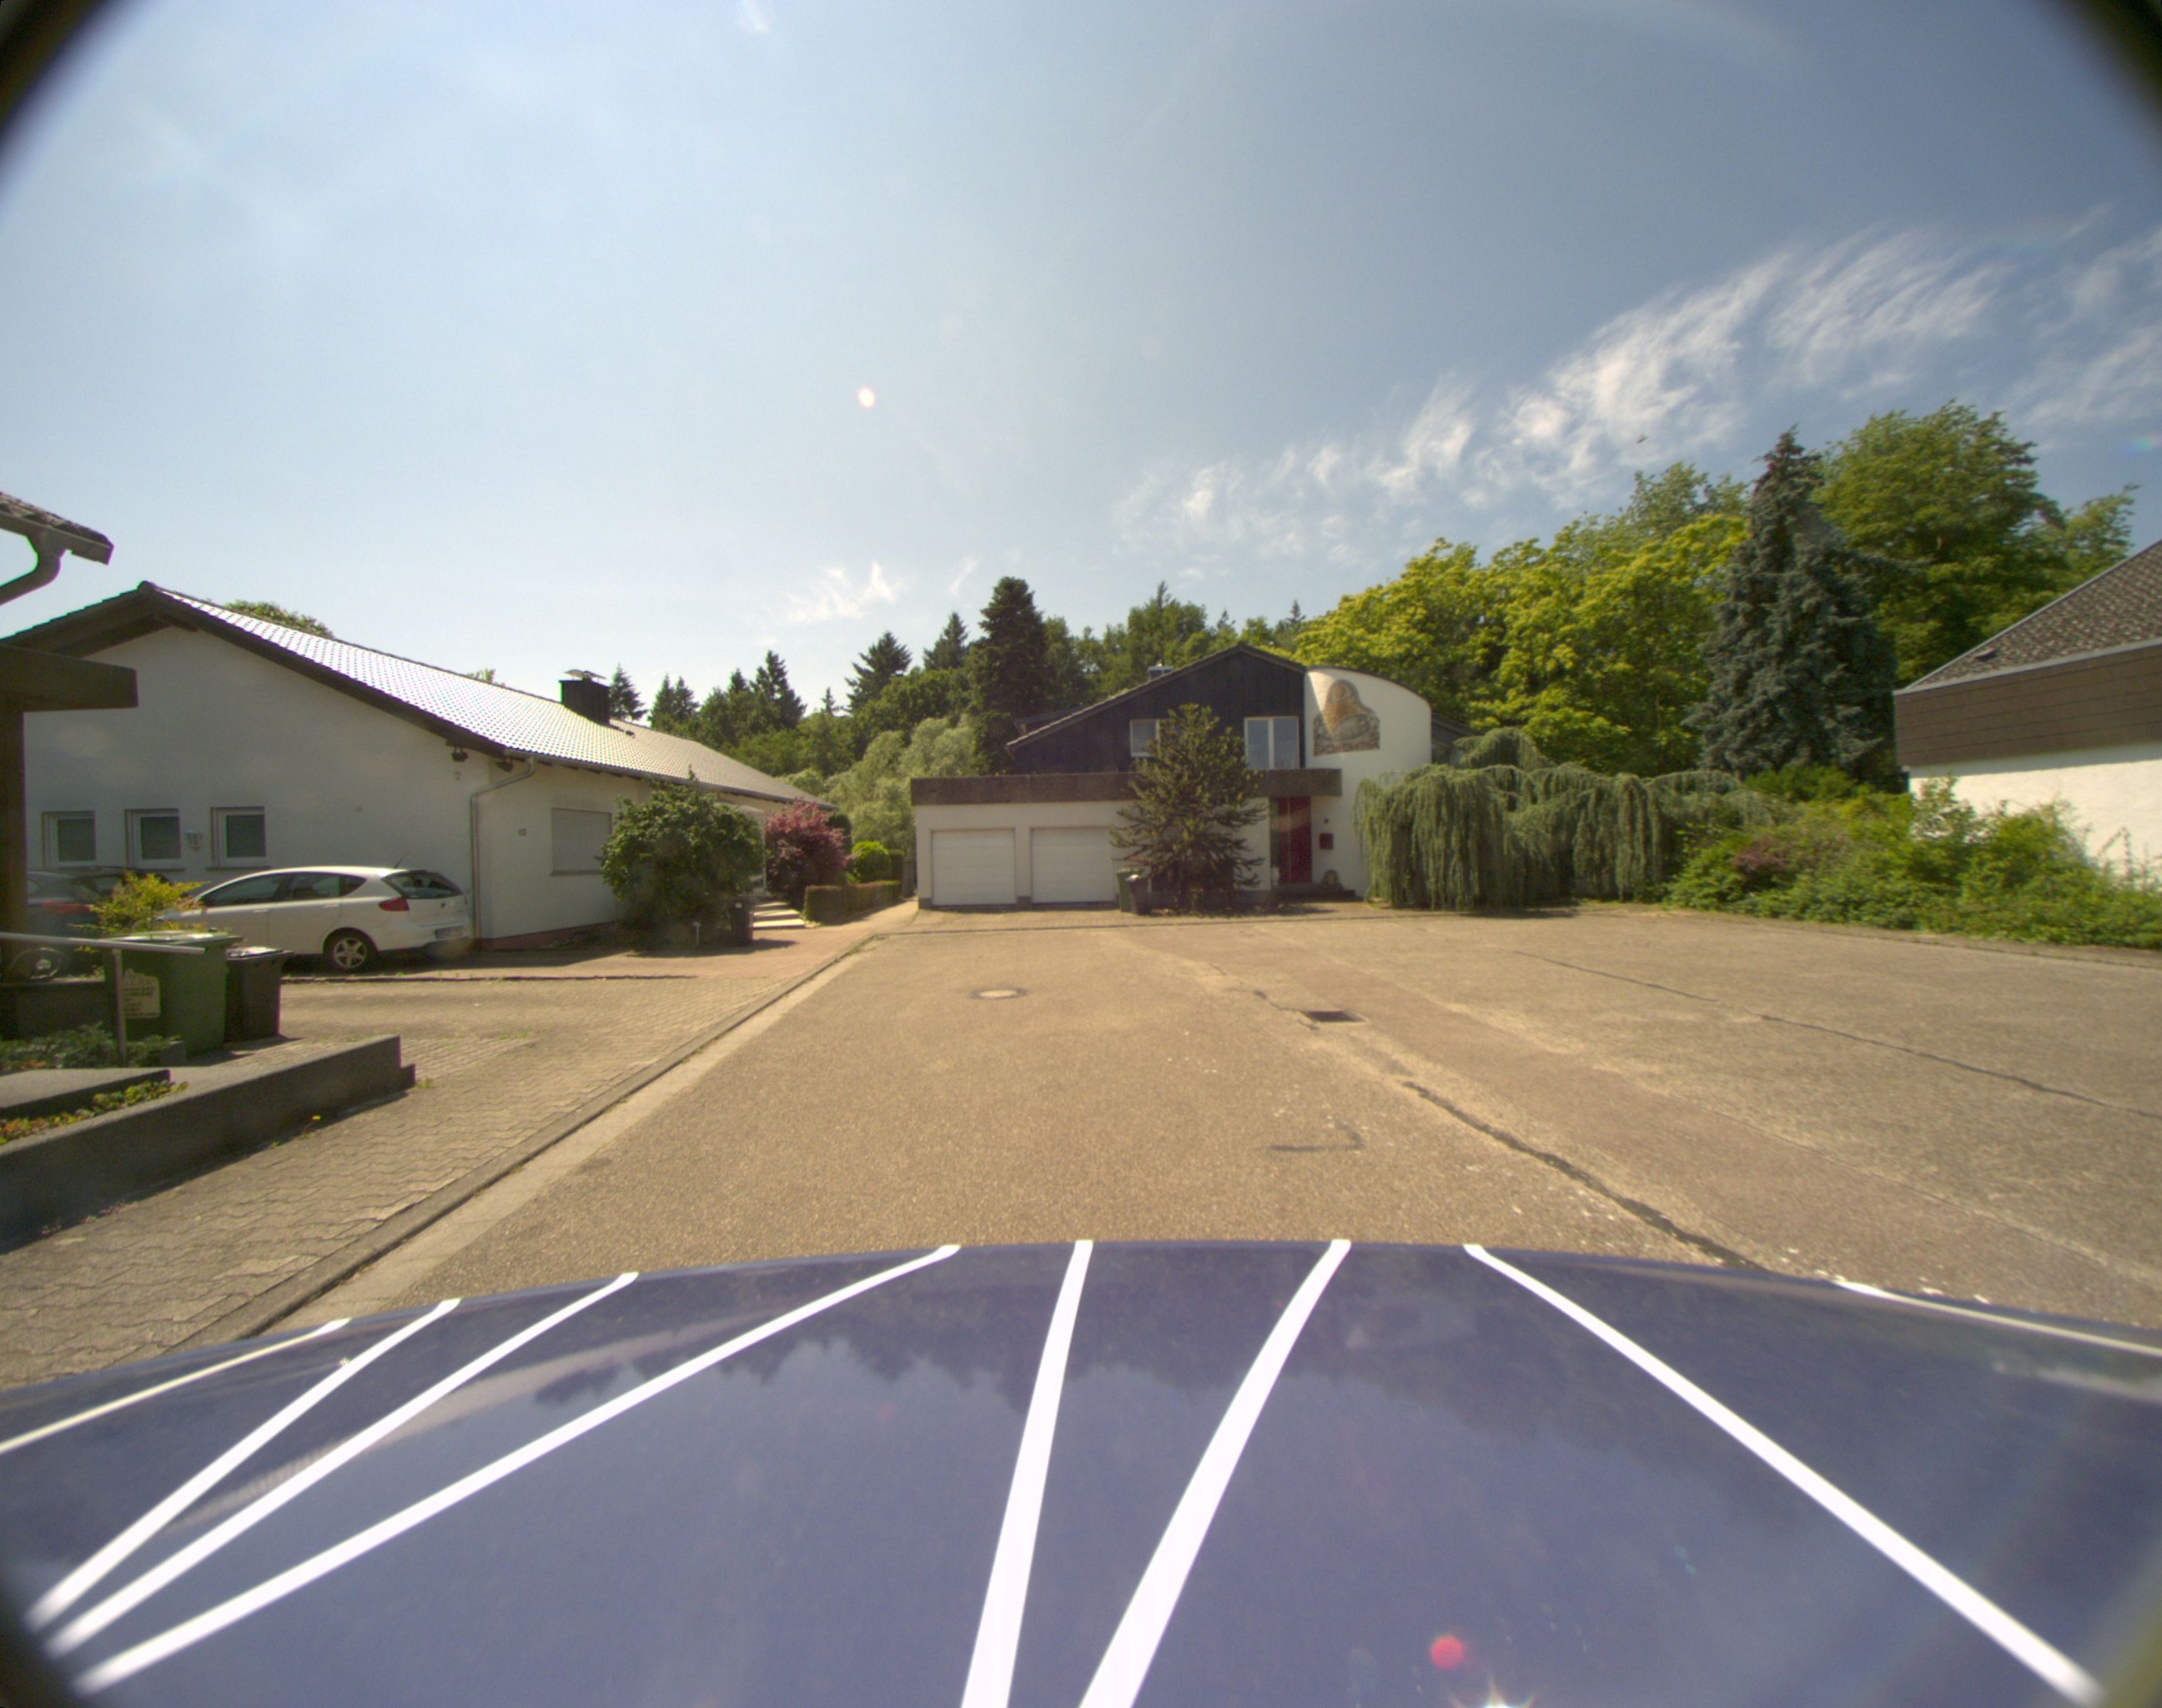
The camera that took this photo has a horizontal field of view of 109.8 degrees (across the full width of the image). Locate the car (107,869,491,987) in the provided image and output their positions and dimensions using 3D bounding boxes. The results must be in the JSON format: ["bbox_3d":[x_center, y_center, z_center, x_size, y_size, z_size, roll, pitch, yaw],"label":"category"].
[{"bbox_3d":[-11.927,1.080,11.826,3.998,1.559,1.751,-1,1,-3],"label":"car"}]

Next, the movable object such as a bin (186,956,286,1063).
[{"bbox_3d":[-7.806,1.427,7.032,0.426,0.886,0.407,-1,2,-7],"label":"movable object such as a bin"}]

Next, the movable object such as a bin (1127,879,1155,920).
[{"bbox_3d":[1.441,1.091,18.214,0.524,0.944,0.388,-2,1,-26],"label":"movable object such as a bin"}]

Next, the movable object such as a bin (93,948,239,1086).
[{"bbox_3d":[-7.810,1.368,6.511,0.491,1.035,0.592,-1,1,-7],"label":"movable object such as a bin"}]

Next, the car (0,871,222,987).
[{"bbox_3d":[-16.602,1.115,11.936,3.997,1.599,1.929,-1,1,1],"label":"car"}]

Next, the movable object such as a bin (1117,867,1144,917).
[{"bbox_3d":[1.228,0.943,18.916,0.633,1.196,0.551,-1,1,1],"label":"movable object such as a bin"}]

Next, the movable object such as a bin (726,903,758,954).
[{"bbox_3d":[-6.223,1.361,13.948,0.390,0.886,0.375,-1,2,0],"label":"movable object such as a bin"}]
